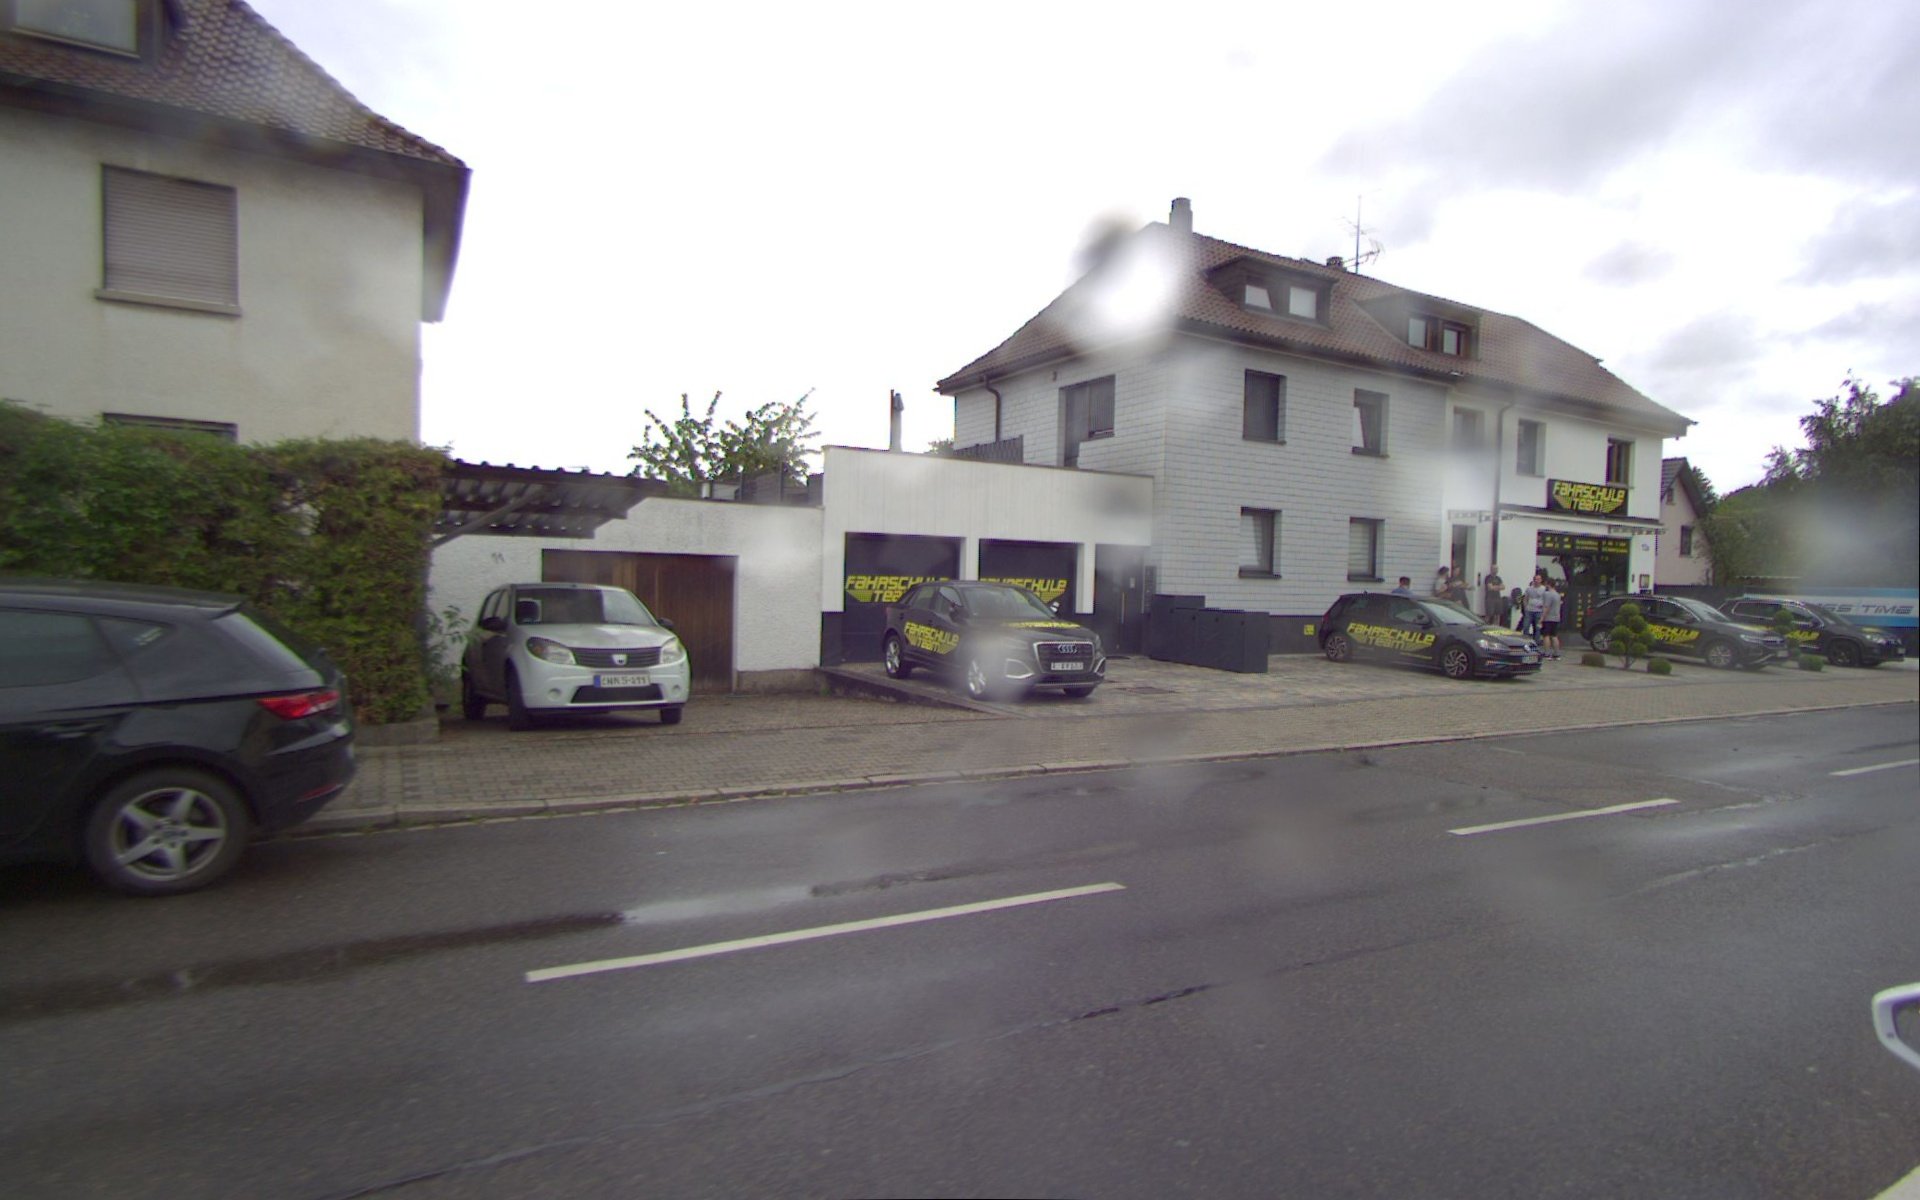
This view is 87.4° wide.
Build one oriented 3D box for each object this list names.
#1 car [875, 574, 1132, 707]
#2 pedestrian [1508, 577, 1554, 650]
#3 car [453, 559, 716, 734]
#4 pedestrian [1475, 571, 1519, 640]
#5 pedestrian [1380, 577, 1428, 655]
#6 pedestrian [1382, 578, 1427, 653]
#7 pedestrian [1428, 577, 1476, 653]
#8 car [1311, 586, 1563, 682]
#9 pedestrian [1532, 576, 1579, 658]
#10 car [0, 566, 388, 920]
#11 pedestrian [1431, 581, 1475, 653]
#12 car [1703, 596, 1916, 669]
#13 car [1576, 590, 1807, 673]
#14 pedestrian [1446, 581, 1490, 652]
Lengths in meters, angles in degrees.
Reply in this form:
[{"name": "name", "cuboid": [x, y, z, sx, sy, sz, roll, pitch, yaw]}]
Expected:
[{"name": "car", "cuboid": [0.456, 0.466, 14.345, 1.833, 1.536, 3.968, 1, 2, -29]}, {"name": "pedestrian", "cuboid": [13.768, 0.324, 24.218, 0.640, 1.688, 0.599, 1, 4, -22]}, {"name": "car", "cuboid": [-4.252, 0.520, 10.984, 1.837, 1.535, 3.963, 1, -3, -34]}, {"name": "pedestrian", "cuboid": [13.443, 0.128, 25.164, 0.641, 1.688, 0.598, 1, 4, -25]}, {"name": "pedestrian", "cuboid": [9.949, 0.350, 22.525, 0.641, 1.688, 0.598, 1, 4, -25]}, {"name": "pedestrian", "cuboid": [10.371, 0.356, 23.449, 0.641, 1.688, 0.598, 1, 4, -25]}, {"name": "pedestrian", "cuboid": [11.258, 0.344, 22.993, 0.641, 1.688, 0.598, 1, 4, -25]}, {"name": "car", "cuboid": [9.077, 0.585, 19.462, 1.833, 1.536, 4.053, 1, 2, -29]}, {"name": "pedestrian", "cuboid": [13.674, 0.378, 23.059, 0.643, 1.815, 0.596, 0, 4, -35]}, {"name": "car", "cuboid": [-5.183, 0.597, 4.797, 4.164, 1.553, 1.747, 1, 1, -33]}, {"name": "pedestrian", "cuboid": [11.923, 0.396, 24.290, 0.641, 1.688, 0.598, 1, 4, -25]}, {"name": "car", "cuboid": [23.497, 0.856, 27.941, 1.833, 1.536, 4.053, 1, 4, -29]}, {"name": "car", "cuboid": [17.622, 0.701, 24.409, 1.833, 1.536, 4.053, 1, 4, -29]}, {"name": "pedestrian", "cuboid": [12.546, 0.400, 24.801, 0.641, 1.688, 0.598, 1, 4, -25]}]
